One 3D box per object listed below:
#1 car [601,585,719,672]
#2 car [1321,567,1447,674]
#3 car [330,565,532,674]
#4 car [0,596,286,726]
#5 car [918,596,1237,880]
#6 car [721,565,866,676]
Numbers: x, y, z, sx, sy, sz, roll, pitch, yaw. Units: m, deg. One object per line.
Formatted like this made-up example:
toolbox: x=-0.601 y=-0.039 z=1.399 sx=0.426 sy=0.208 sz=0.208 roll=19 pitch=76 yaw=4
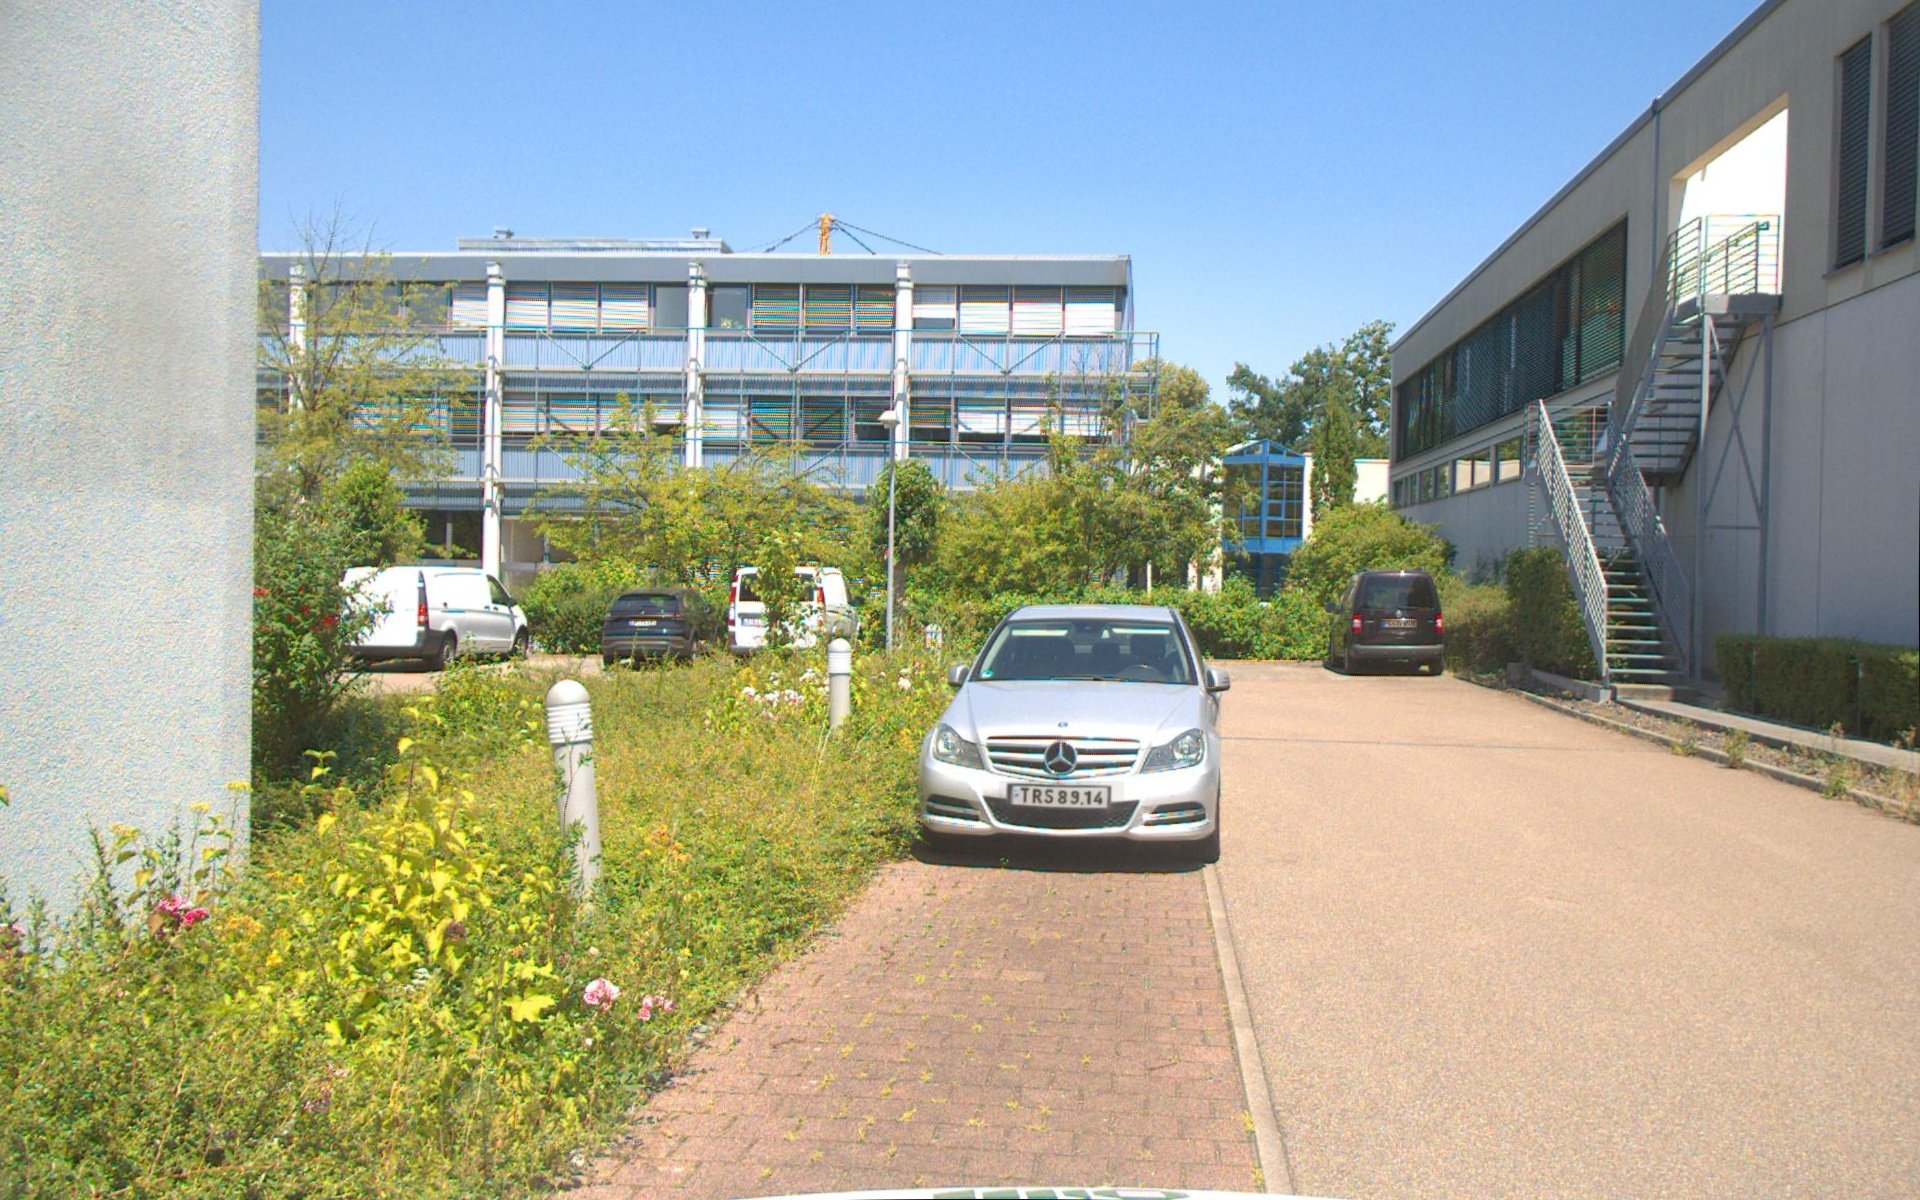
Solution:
car: x=-5.725 y=0.497 z=31.968 sx=1.719 sy=1.502 sz=3.998 roll=0 pitch=1 yaw=-3
car: x=7.857 y=0.328 z=30.963 sx=1.706 sy=1.869 sz=4.003 roll=0 pitch=1 yaw=6
car: x=-10.116 y=0.294 z=32.054 sx=1.841 sy=1.924 sz=4.808 roll=0 pitch=1 yaw=7
car: x=-11.006 y=0.727 z=22.089 sx=1.818 sy=1.498 sz=4.487 roll=0 pitch=1 yaw=6
car: x=0.932 y=0.722 z=10.827 sx=1.692 sy=1.482 sz=4.151 roll=0 pitch=0 yaw=9
car: x=-3.051 y=0.309 z=31.362 sx=1.872 sy=1.938 sz=4.811 roll=0 pitch=1 yaw=5
